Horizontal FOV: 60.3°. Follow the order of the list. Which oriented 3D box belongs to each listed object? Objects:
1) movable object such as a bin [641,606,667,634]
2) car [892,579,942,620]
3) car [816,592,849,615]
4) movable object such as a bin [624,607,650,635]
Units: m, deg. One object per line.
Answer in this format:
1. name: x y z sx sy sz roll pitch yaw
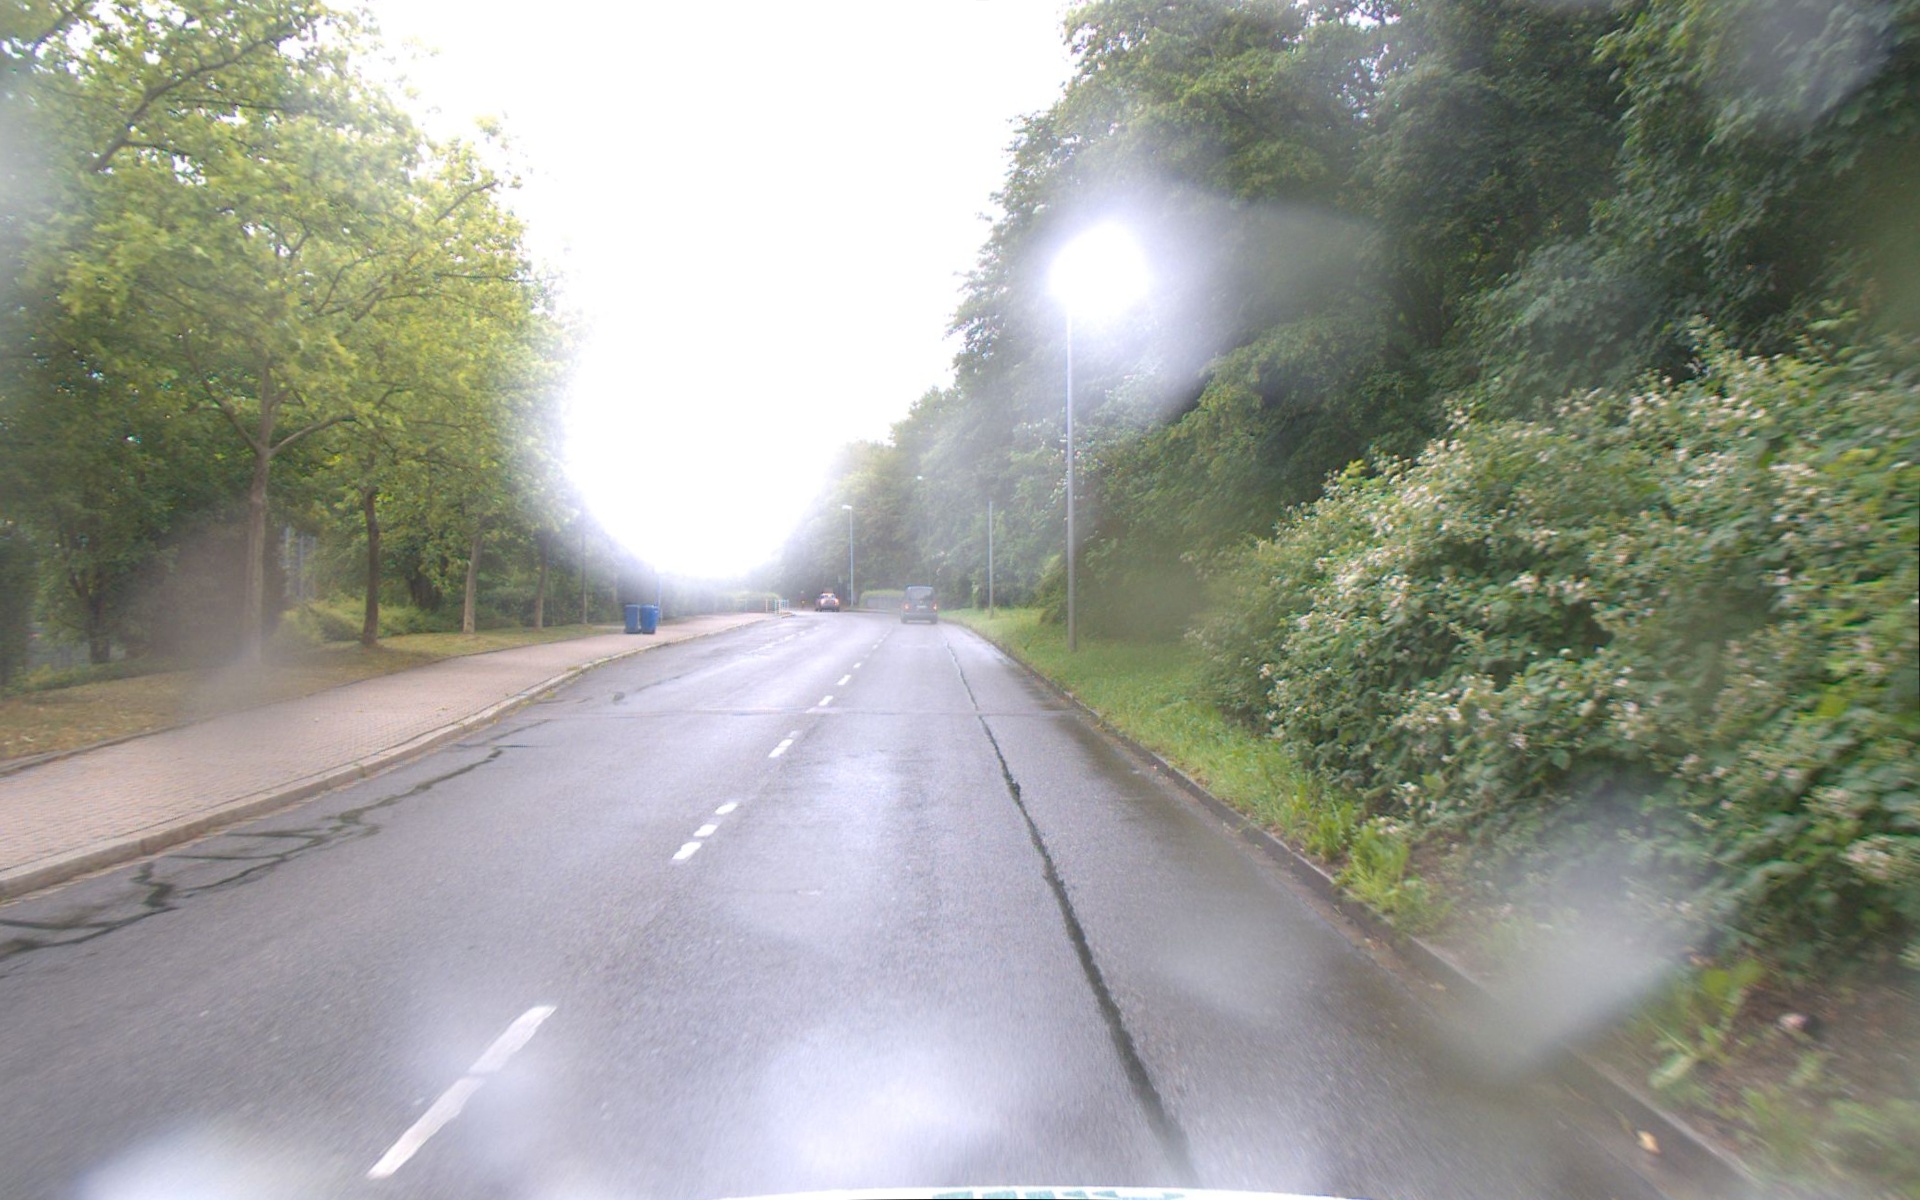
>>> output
1. movable object such as a bin: -11.752 0.769 63.524 0.660 1.044 0.825 -2 0 -33
2. car: -2.212 -0.050 83.132 1.957 1.825 3.992 2 1 -9
3. car: -10.532 0.264 136.583 1.961 1.803 3.982 -1 0 -16
4. movable object such as a bin: -12.334 0.811 63.147 0.660 1.044 0.825 -2 0 -33
